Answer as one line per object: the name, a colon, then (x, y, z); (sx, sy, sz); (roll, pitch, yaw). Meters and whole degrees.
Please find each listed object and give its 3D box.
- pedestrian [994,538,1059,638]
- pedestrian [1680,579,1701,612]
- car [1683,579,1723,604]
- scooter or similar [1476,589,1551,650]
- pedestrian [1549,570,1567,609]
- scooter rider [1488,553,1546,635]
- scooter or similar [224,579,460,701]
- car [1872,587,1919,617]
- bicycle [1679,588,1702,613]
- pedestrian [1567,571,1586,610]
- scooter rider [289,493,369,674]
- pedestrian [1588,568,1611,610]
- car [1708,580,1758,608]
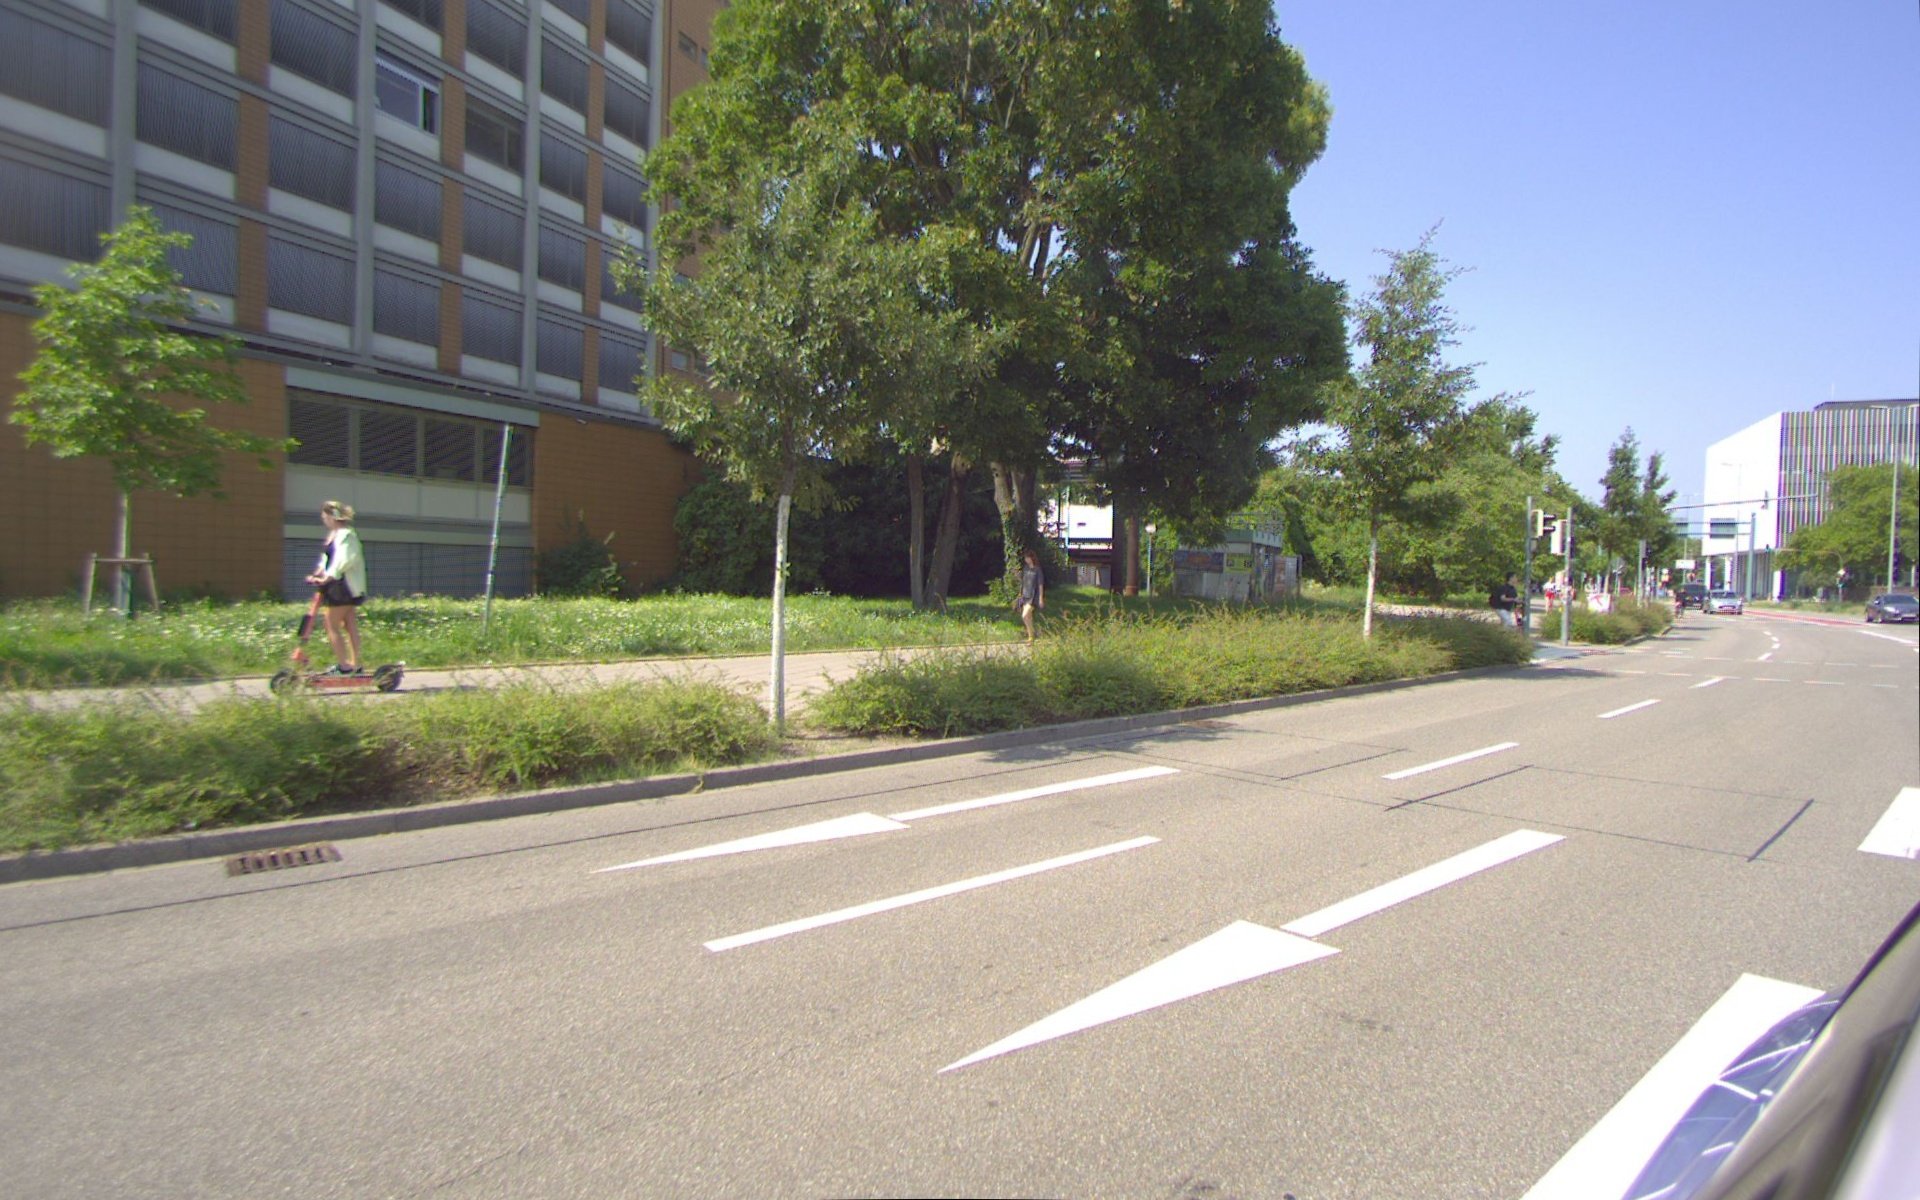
pedestrian: (1.198, -0.223, 18.299); (0.706, 1.725, 0.865); (5, 4, 43)
pedestrian: (38.014, -0.242, 52.648); (0.774, 1.689, 0.543); (2, 2, 31)
car: (57.015, -0.678, 77.681); (1.984, 1.801, 3.958); (2, 2, 30)
scooter or similar: (12.276, 0.422, 22.481); (0.573, 1.249, 1.371); (1, 3, -23)
pedestrian: (27.792, -0.497, 47.028); (0.689, 1.793, 0.581); (2, 2, 32)
scooter rider: (12.352, -0.138, 22.457); (0.674, 1.760, 0.807); (1, 2, -23)
scooter or similar: (-6.215, 0.353, 10.274); (0.557, 1.072, 1.972); (7, 6, 44)
car: (44.997, 0.078, 48.081); (1.777, 1.374, 3.388); (1, 1, 30)
bicycle: (38.061, 0.005, 52.739); (0.780, 1.227, 1.770); (2, 2, 31)
pedestrian: (28.489, -0.446, 46.744); (0.689, 1.793, 0.581); (2, 2, 32)
scooter rider: (-6.306, -0.180, 10.112); (0.671, 1.719, 0.530); (7, 6, 44)
pedestrian: (28.217, -0.501, 44.643); (0.787, 1.790, 0.817); (2, 2, 31)
car: (49.753, -0.410, 65.194); (1.984, 1.699, 3.958); (2, 2, 30)
